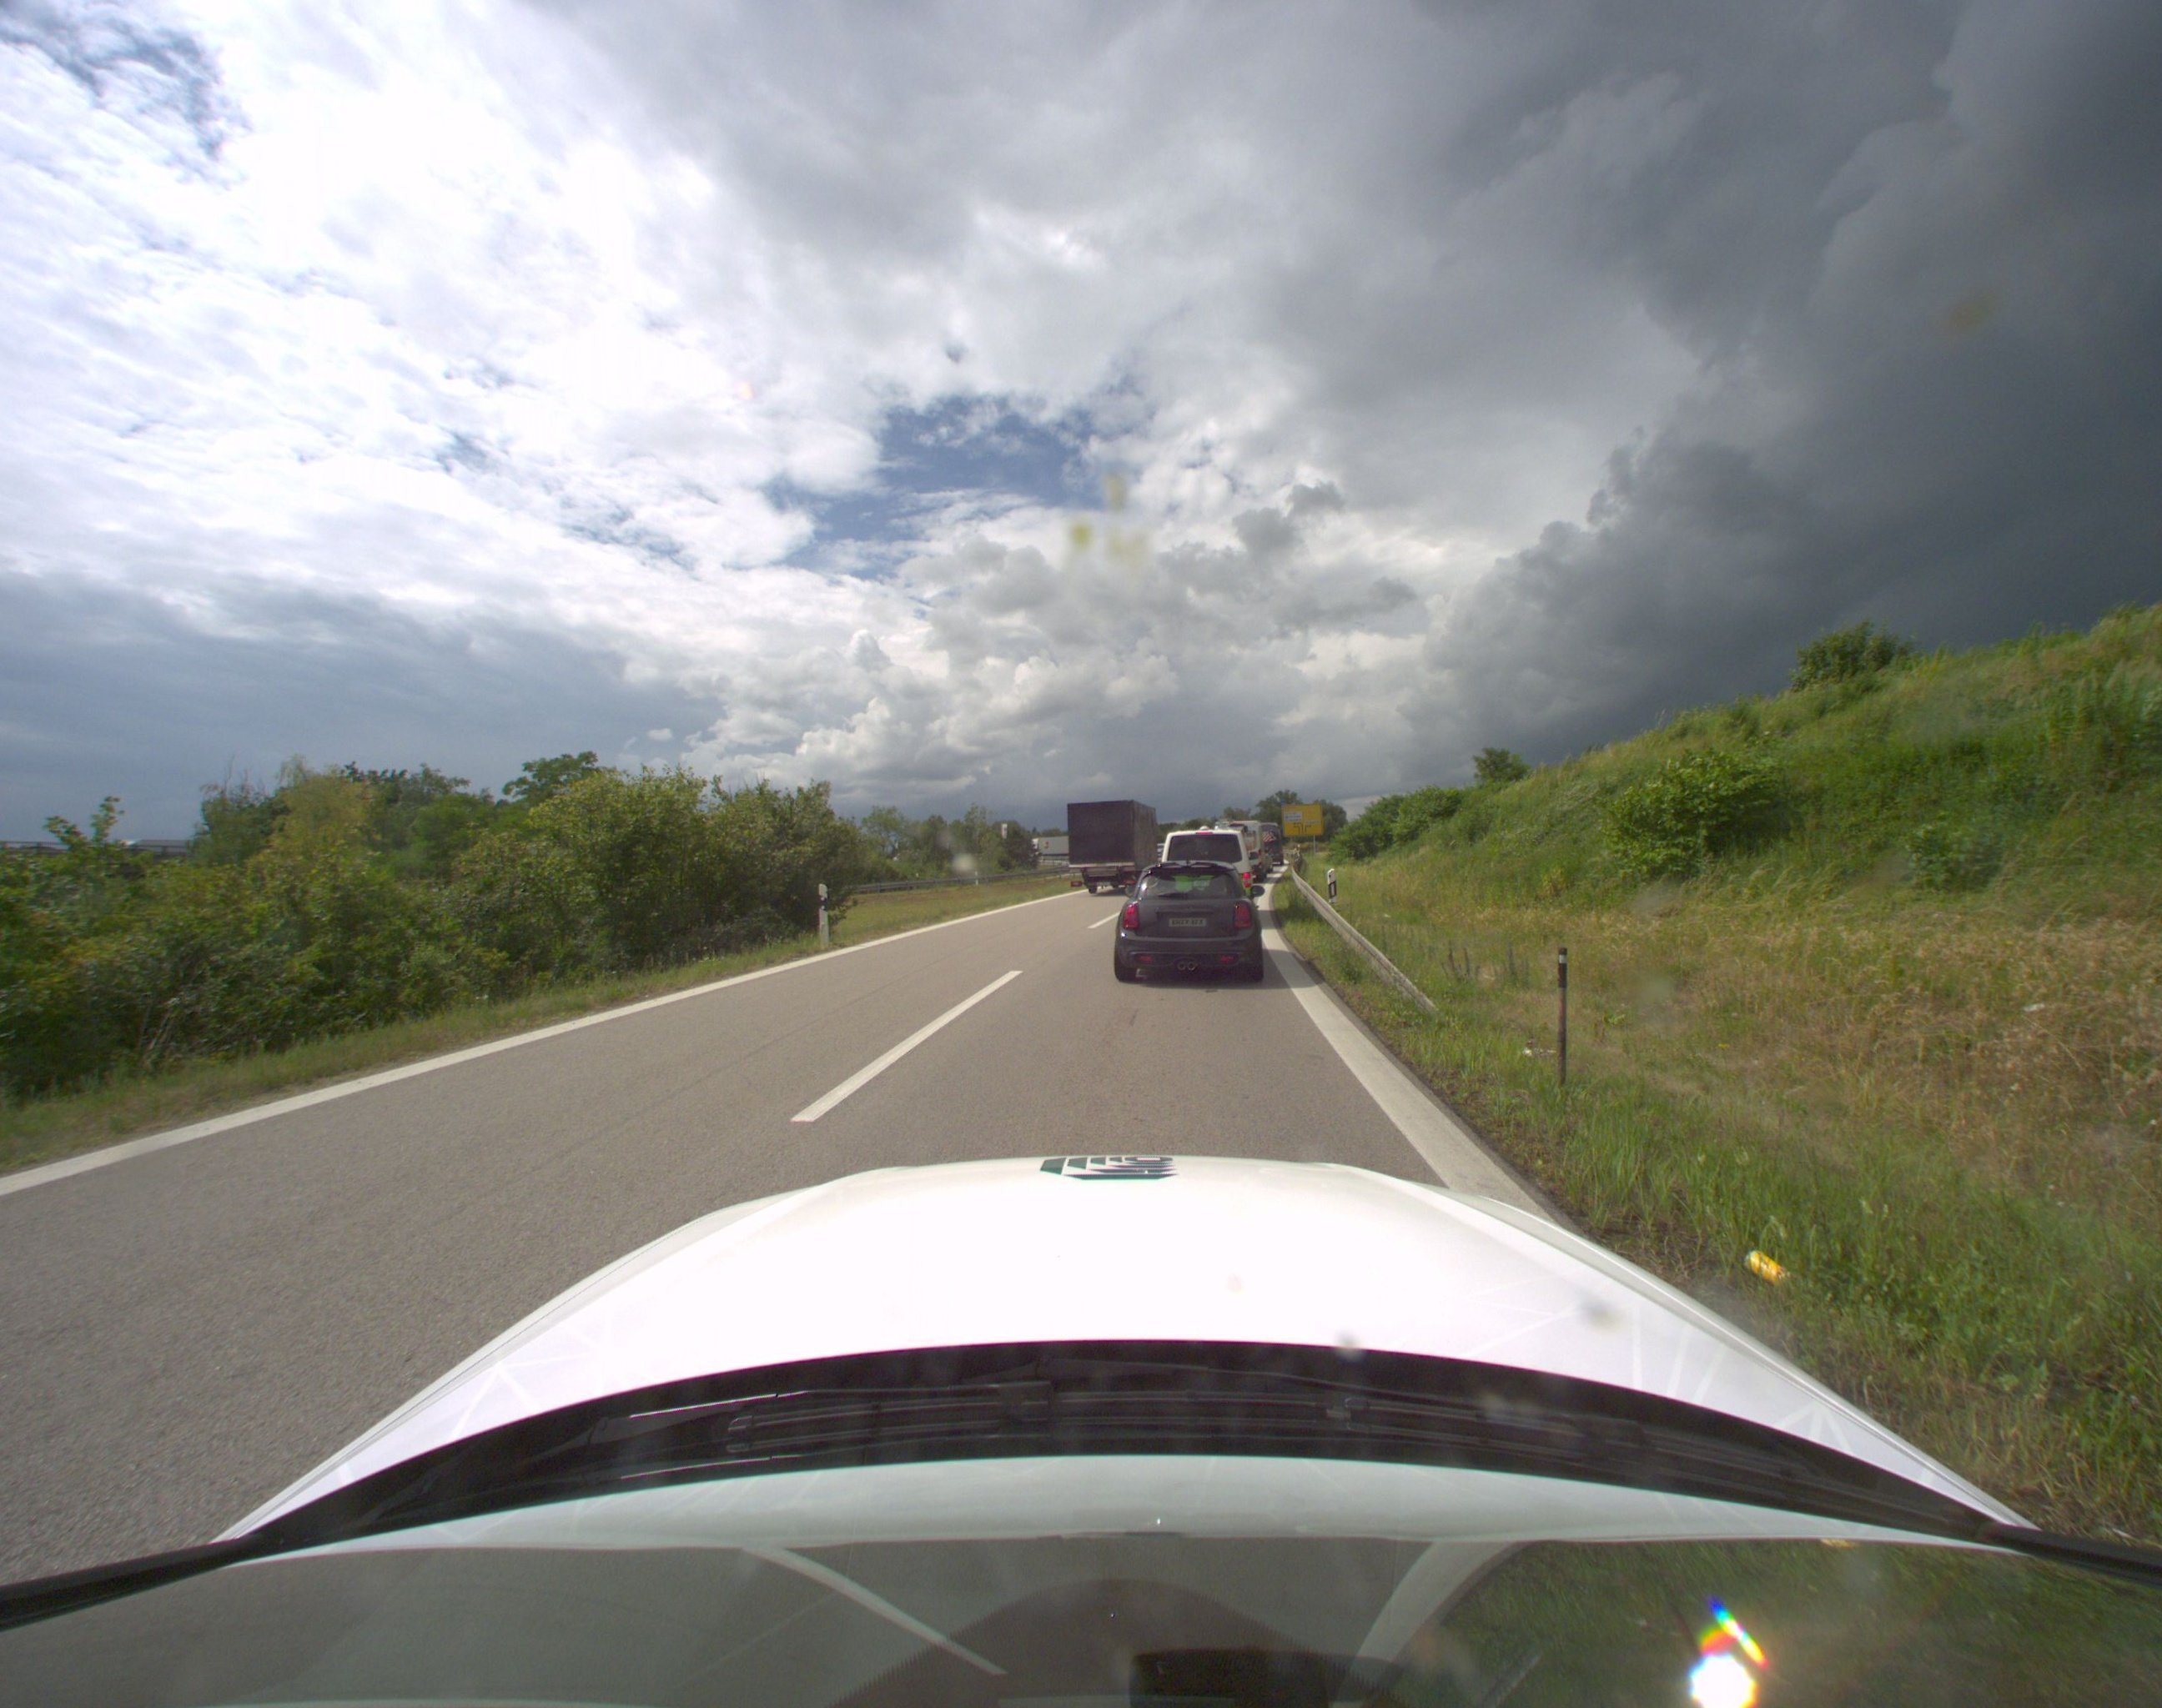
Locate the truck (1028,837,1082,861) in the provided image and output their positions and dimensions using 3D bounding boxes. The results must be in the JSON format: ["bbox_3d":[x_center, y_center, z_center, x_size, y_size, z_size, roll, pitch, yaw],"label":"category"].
[{"bbox_3d":[-4.451,-0.805,138.721,9.901,3.976,2.863,-1,-1,41],"label":"truck"}]

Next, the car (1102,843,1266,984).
[{"bbox_3d":[1.456,0.660,10.885,1.788,1.546,3.749,-1,0,10],"label":"car"}]

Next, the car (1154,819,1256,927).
[{"bbox_3d":[2.783,0.382,17.602,1.898,2.045,4.194,-1,0,12],"label":"car"}]

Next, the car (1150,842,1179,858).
[{"bbox_3d":[12.077,-0.599,118.019,2.297,2.260,5.073,0,-1,-20],"label":"car"}]

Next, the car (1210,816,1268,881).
[{"bbox_3d":[6.983,-0.185,35.572,2.196,2.622,5.554,-1,-1,13],"label":"car"}]

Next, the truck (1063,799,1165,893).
[{"bbox_3d":[1.480,-0.210,31.428,2.542,3.168,7.494,-1,-1,13],"label":"truck"}]

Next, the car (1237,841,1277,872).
[{"bbox_3d":[9.631,0.151,44.381,1.979,1.642,3.943,-1,-1,13],"label":"car"}]

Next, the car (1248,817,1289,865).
[{"bbox_3d":[12.967,-0.821,55.947,2.293,3.069,6.690,-1,-1,16],"label":"car"}]
